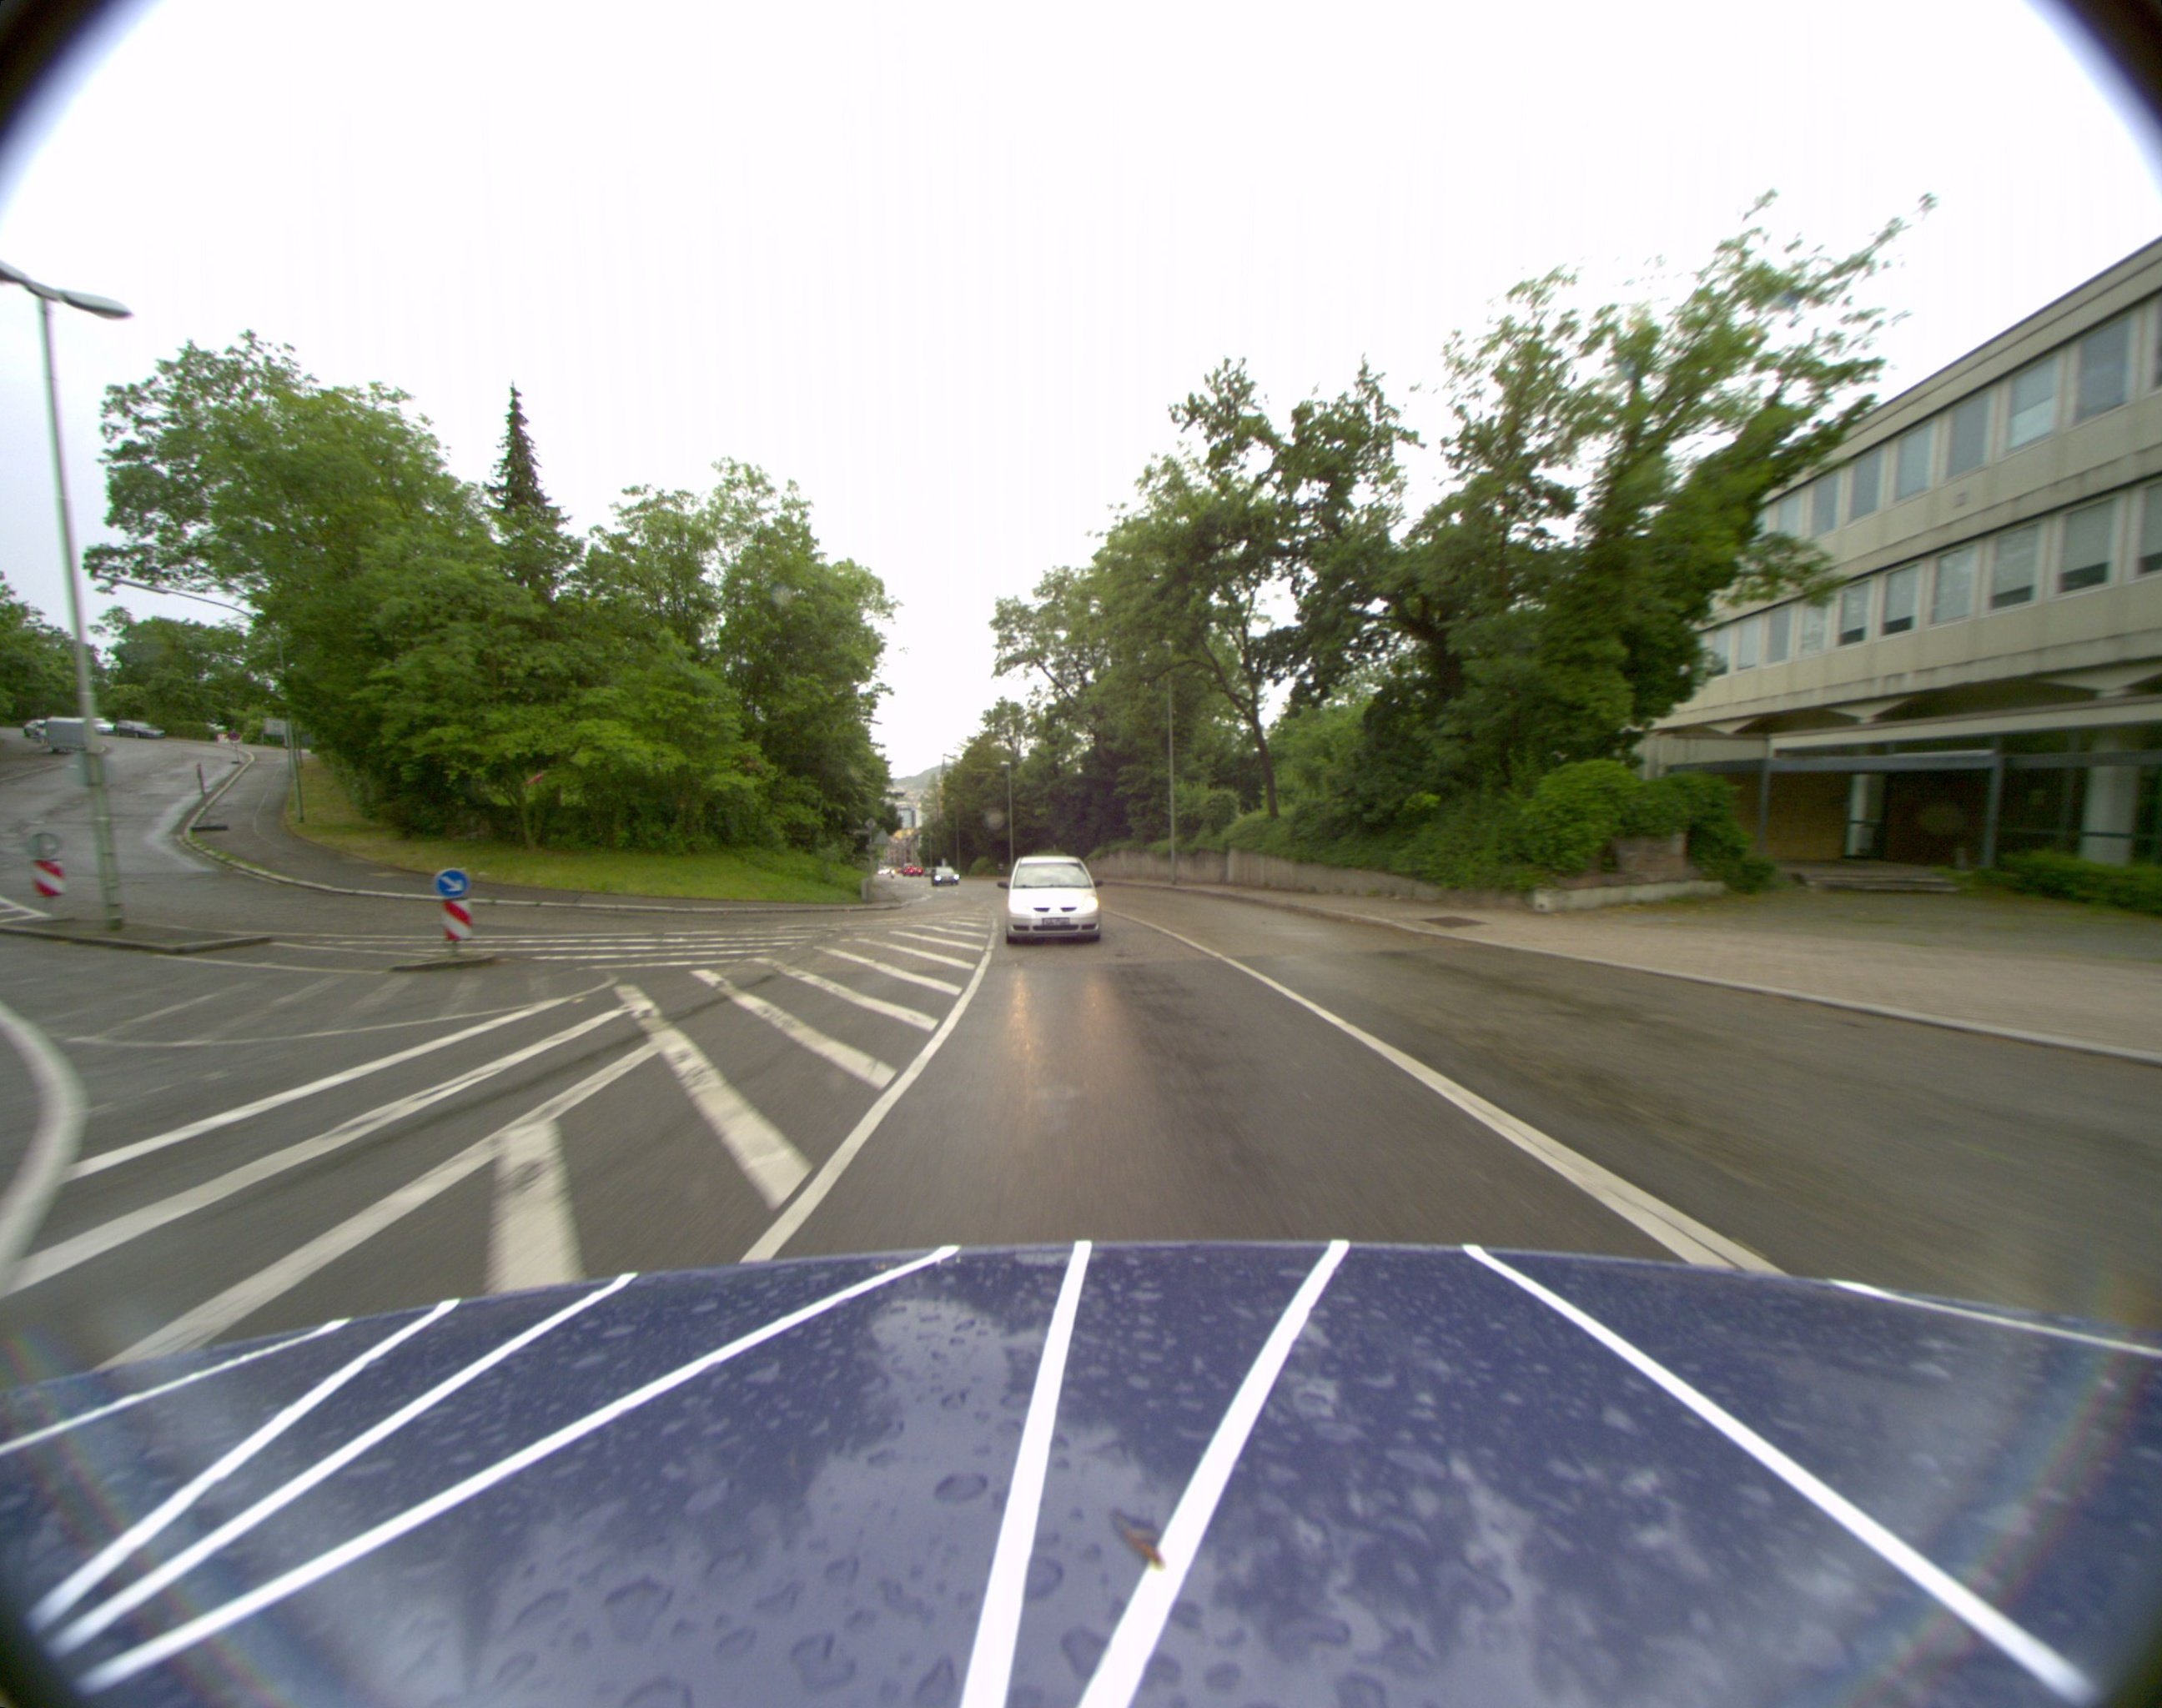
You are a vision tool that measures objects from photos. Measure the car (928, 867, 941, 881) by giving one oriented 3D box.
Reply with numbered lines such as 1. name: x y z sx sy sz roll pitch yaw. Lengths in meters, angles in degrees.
1. car: -25.146 3.365 130.497 2.001 2.242 3.995 -2 0 -14

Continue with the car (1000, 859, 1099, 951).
1. car: -0.491 0.873 14.714 1.640 1.496 4.000 -1 0 1

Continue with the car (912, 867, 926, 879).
1. car: -26.526 3.023 124.217 2.001 1.805 3.995 -2 0 -14

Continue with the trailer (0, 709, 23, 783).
1. trailer: -48.943 -4.643 32.557 2.283 3.285 7.998 0 9 -41

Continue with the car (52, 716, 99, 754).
1. car: -68.126 -8.013 51.525 3.879 2.002 1.713 0 0 40

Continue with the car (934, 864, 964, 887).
1. car: -10.425 1.662 59.749 2.038 1.691 3.995 -2 0 -14

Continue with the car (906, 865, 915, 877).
1. car: -30.548 2.990 136.172 1.509 2.002 3.995 -2 0 -13
